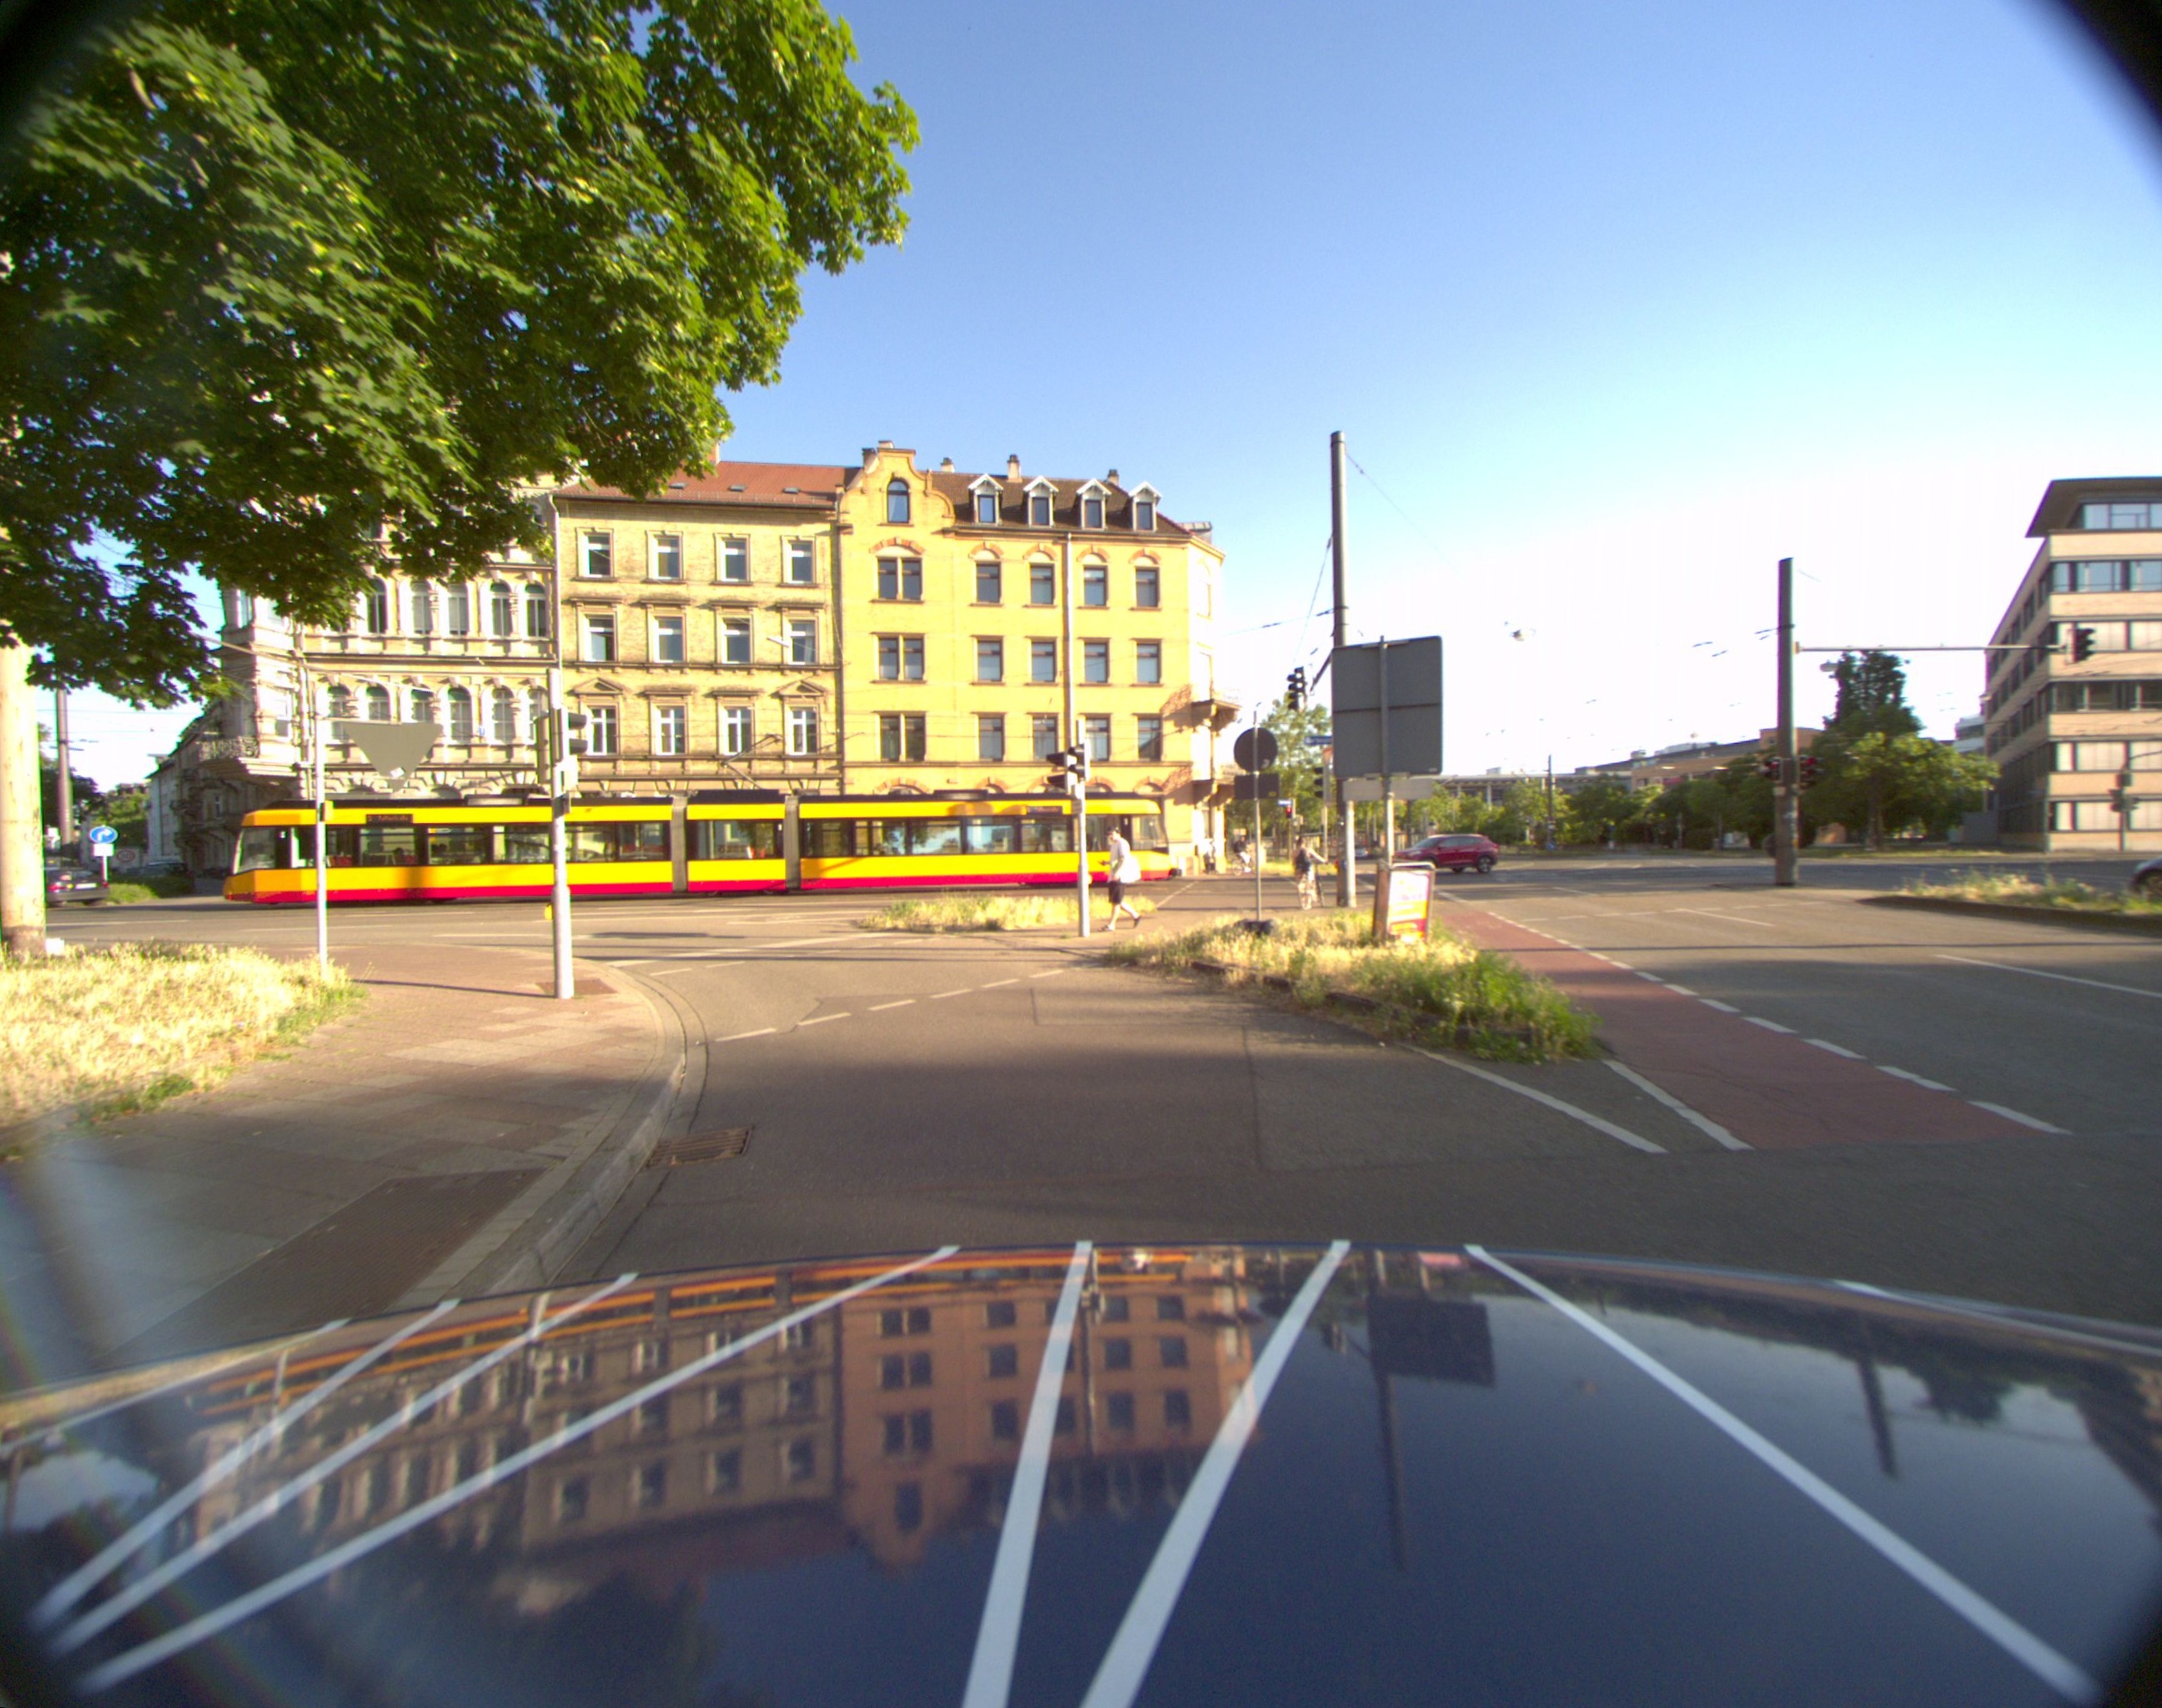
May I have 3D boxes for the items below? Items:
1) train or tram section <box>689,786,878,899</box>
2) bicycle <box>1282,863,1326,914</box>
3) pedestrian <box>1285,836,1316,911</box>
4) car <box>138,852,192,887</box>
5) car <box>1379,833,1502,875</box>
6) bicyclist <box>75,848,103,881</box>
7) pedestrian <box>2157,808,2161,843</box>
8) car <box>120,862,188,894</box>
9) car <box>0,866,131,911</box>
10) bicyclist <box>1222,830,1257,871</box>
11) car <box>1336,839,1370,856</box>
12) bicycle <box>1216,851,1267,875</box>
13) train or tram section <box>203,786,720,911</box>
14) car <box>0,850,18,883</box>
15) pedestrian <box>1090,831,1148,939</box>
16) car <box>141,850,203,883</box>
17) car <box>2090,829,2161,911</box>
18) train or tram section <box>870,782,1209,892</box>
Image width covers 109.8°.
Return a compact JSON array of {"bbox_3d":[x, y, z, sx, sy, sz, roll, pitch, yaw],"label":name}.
[{"bbox_3d":[-9.767,-0.412,25.542,5.303,3.488,2.867,-1,1,-8],"label":"train or tram section"},{"bbox_3d":[4.936,0.741,16.762,0.398,1.023,1.675,0,1,36],"label":"bicycle"},{"bbox_3d":[4.860,0.427,16.799,0.488,1.622,0.526,0,1,35],"label":"pedestrian"},{"bbox_3d":[-56.373,0.938,46.800,4.622,2.002,2.004,0,1,40],"label":"car"},{"bbox_3d":[15.190,-0.019,32.184,4.465,1.605,1.820,-1,1,-9],"label":"car"},{"bbox_3d":[-57.298,0.615,43.895,0.731,1.830,1.209,-3,1,-43],"label":"bicyclist"},{"bbox_3d":[62.887,-1.652,43.589,0.988,2.002,0.930,-1,1,2],"label":"pedestrian"},{"bbox_3d":[-44.670,1.131,36.680,3.424,1.406,1.741,0,1,45],"label":"car"},{"bbox_3d":[-35.092,1.153,25.319,4.162,1.372,1.813,-1,1,-7],"label":"car"},{"bbox_3d":[7.289,-0.168,34.932,1.069,1.831,1.306,0,1,38],"label":"bicyclist"},{"bbox_3d":[25.758,-0.599,72.044,1.998,1.565,4.000,-1,1,3],"label":"car"},{"bbox_3d":[7.449,0.410,35.160,1.069,1.018,2.981,0,1,38],"label":"bicycle"},{"bbox_3d":[-18.900,-0.244,24.182,13.014,3.488,2.867,-1,1,-8],"label":"train or tram section"},{"bbox_3d":[-61.522,0.727,40.594,5.067,1.778,1.995,-1,1,-33],"label":"car"},{"bbox_3d":[0.668,0.504,13.005,0.826,1.779,0.912,-1,1,12],"label":"pedestrian"},{"bbox_3d":[-47.779,0.623,40.008,3.988,1.652,1.741,0,1,45],"label":"car"},{"bbox_3d":[17.641,0.256,10.880,1.720,1.289,4.254,-1,1,18],"label":"car"},{"bbox_3d":[-1.407,-0.631,26.837,11.297,3.488,2.867,-1,1,-8],"label":"train or tram section"}]
